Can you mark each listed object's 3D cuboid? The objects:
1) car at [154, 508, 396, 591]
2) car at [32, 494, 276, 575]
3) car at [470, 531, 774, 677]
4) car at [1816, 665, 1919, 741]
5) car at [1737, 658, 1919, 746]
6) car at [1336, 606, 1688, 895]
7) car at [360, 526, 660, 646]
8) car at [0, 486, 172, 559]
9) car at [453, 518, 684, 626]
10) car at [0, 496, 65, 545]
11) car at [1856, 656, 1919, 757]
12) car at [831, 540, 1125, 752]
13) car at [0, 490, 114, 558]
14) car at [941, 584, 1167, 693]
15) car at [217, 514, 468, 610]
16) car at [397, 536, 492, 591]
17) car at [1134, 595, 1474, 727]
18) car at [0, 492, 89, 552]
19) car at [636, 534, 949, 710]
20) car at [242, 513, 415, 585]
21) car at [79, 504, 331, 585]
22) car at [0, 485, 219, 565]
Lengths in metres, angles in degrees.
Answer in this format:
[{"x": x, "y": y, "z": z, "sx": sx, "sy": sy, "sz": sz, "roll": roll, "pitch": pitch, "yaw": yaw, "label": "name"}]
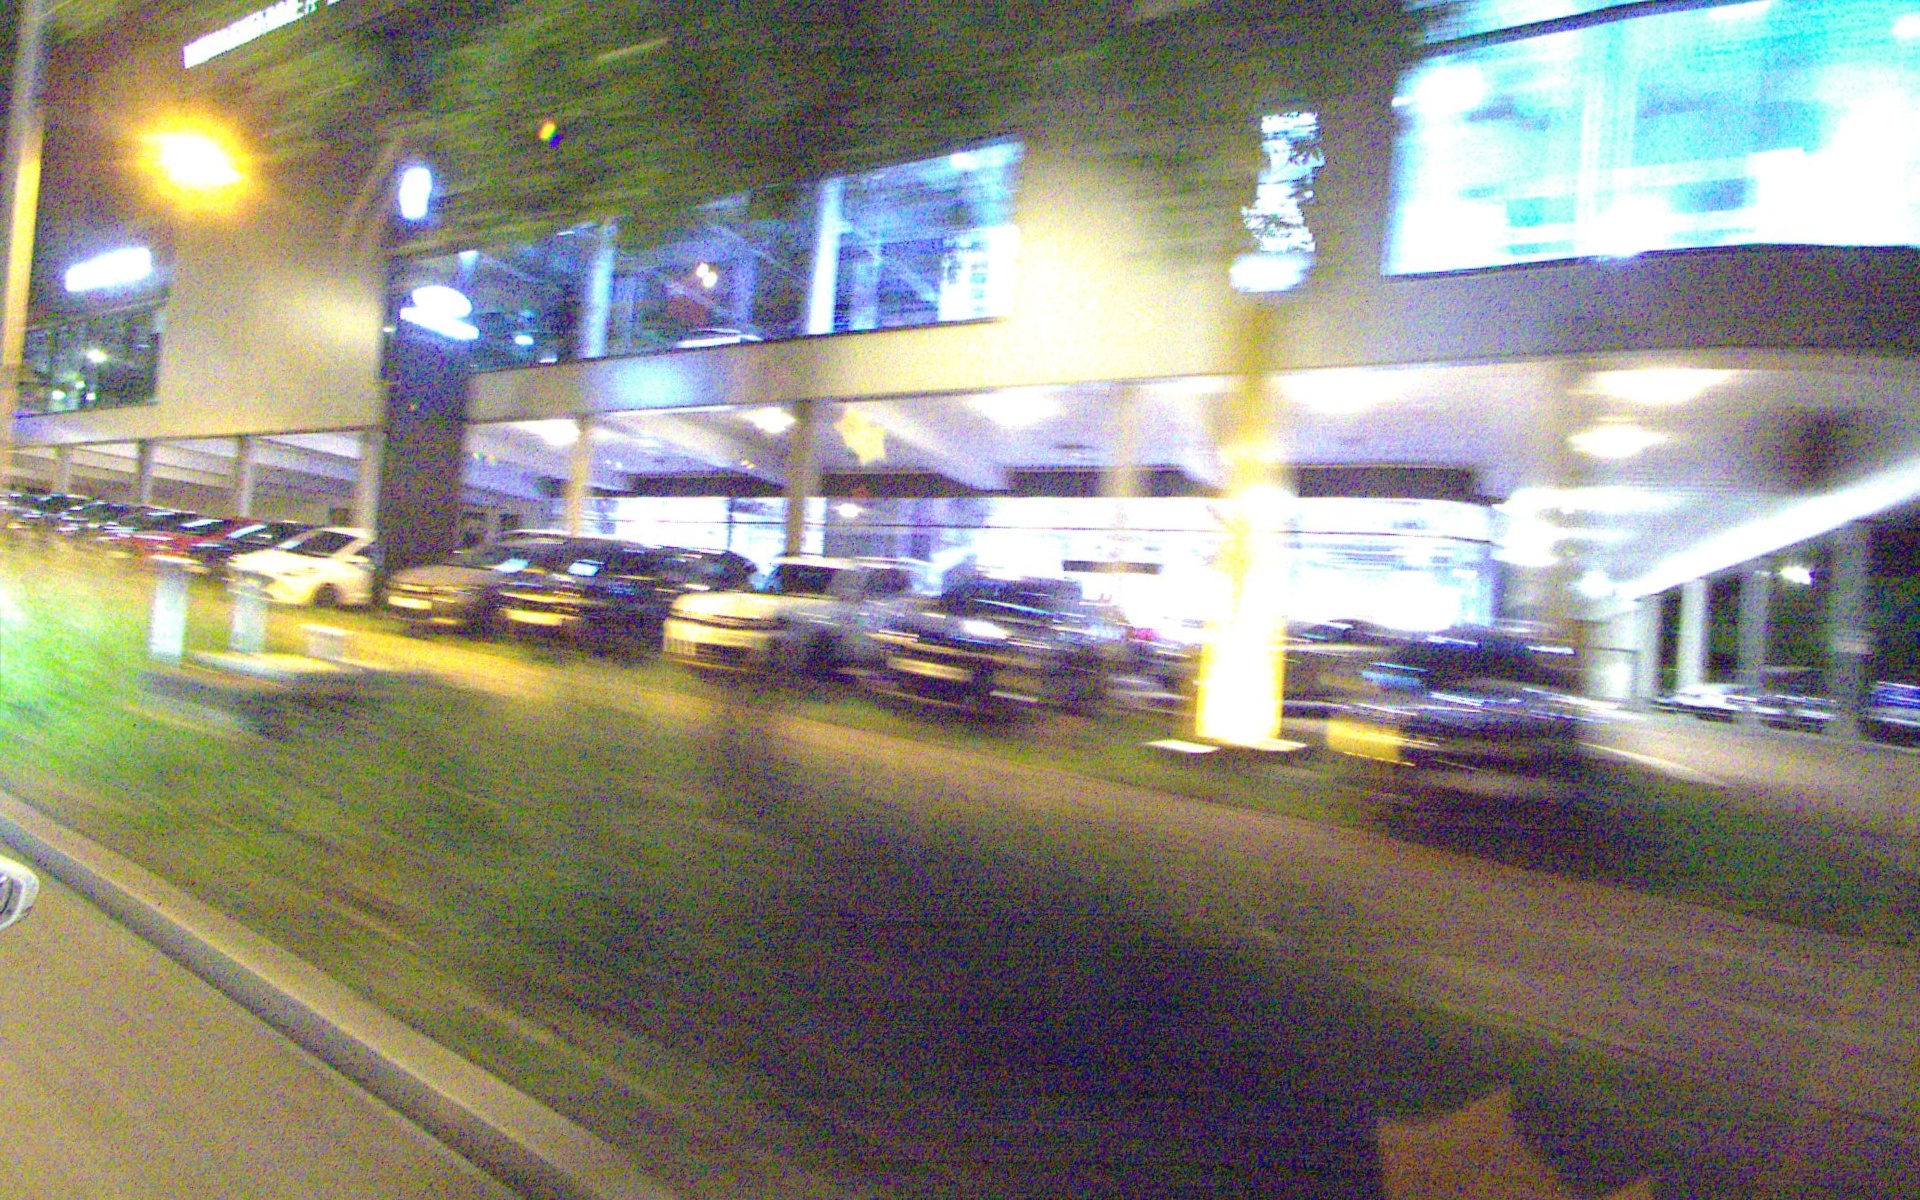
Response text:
[{"x": -13.701, "y": -0.960, "z": 20.390, "sx": 1.684, "sy": 1.398, "sz": 3.775, "roll": 6, "pitch": 3, "yaw": 18, "label": "car"}, {"x": -18.395, "y": -1.444, "z": 23.200, "sx": 1.775, "sy": 1.399, "sz": 3.997, "roll": 7, "pitch": 1, "yaw": 20, "label": "car"}, {"x": -4.543, "y": 0.015, "z": 14.205, "sx": 1.820, "sy": 1.590, "sz": 4.087, "roll": 7, "pitch": 3, "yaw": 20, "label": "car"}, {"x": 20.470, "y": 2.266, "z": 20.813, "sx": 3.804, "sy": 1.353, "sz": 1.658, "roll": 6, "pitch": 1, "yaw": 9, "label": "car"}, {"x": 21.433, "y": 2.453, "z": 23.602, "sx": 4.578, "sy": 1.681, "sz": 2.002, "roll": 6, "pitch": -2, "yaw": 9, "label": "car"}, {"x": 4.427, "y": 1.021, "z": 8.811, "sx": 1.925, "sy": 1.685, "sz": 4.212, "roll": 6, "pitch": 1, "yaw": 20, "label": "car"}, {"x": -7.057, "y": -0.240, "z": 16.344, "sx": 1.737, "sy": 1.569, "sz": 4.467, "roll": 5, "pitch": 3, "yaw": 21, "label": "car"}, {"x": -22.990, "y": -1.997, "z": 25.859, "sx": 1.798, "sy": 1.489, "sz": 4.000, "roll": 6, "pitch": 1, "yaw": 12, "label": "car"}, {"x": -9.405, "y": -0.620, "z": 24.524, "sx": 4.743, "sy": 1.940, "sz": 1.834, "roll": 7, "pitch": -1, "yaw": -6, "label": "car"}, {"x": -29.712, "y": -2.593, "z": 29.774, "sx": 1.910, "sy": 1.279, "sz": 4.648, "roll": 8, "pitch": -1, "yaw": 6, "label": "car"}, {"x": 18.677, "y": 2.087, "z": 17.653, "sx": 3.891, "sy": 1.624, "sz": 1.780, "roll": 6, "pitch": 4, "yaw": 9, "label": "car"}, {"x": 0.465, "y": 0.473, "z": 11.909, "sx": 1.963, "sy": 1.833, "sz": 4.471, "roll": 7, "pitch": 1, "yaw": 20, "label": "car"}, {"x": -25.219, "y": -2.114, "z": 26.958, "sx": 1.648, "sy": 1.450, "sz": 3.618, "roll": 6, "pitch": -2, "yaw": 7, "label": "car"}, {"x": 1.521, "y": 0.628, "z": 16.977, "sx": 3.440, "sy": 1.440, "sz": 1.637, "roll": 5, "pitch": 0, "yaw": -6, "label": "car"}, {"x": -11.489, "y": -0.644, "z": 19.020, "sx": 1.685, "sy": 1.472, "sz": 3.812, "roll": 6, "pitch": 1, "yaw": 17, "label": "car"}, {"x": -19.904, "y": -1.344, "z": 39.049, "sx": 1.628, "sy": 1.673, "sz": 4.320, "roll": 7, "pitch": -2, "yaw": -6, "label": "car"}, {"x": 5.000, "y": 0.869, "z": 14.897, "sx": 4.367, "sy": 1.531, "sz": 1.717, "roll": 4, "pitch": 2, "yaw": -8, "label": "car"}, {"x": -27.465, "y": -2.383, "z": 28.333, "sx": 1.873, "sy": 1.440, "sz": 4.004, "roll": 7, "pitch": -1, "yaw": 13, "label": "car"}, {"x": -1.922, "y": 0.194, "z": 13.154, "sx": 1.963, "sy": 1.710, "sz": 4.468, "roll": 7, "pitch": 3, "yaw": 20, "label": "car"}, {"x": -17.893, "y": -1.411, "z": 28.641, "sx": 3.726, "sy": 1.482, "sz": 1.626, "roll": 7, "pitch": -1, "yaw": -2, "label": "car"}, {"x": -15.968, "y": -1.112, "z": 21.568, "sx": 1.791, "sy": 1.392, "sz": 4.032, "roll": 6, "pitch": 2, "yaw": 15, "label": "car"}, {"x": -20.569, "y": -1.750, "z": 24.388, "sx": 1.791, "sy": 1.409, "sz": 4.001, "roll": 8, "pitch": 1, "yaw": 9, "label": "car"}]
